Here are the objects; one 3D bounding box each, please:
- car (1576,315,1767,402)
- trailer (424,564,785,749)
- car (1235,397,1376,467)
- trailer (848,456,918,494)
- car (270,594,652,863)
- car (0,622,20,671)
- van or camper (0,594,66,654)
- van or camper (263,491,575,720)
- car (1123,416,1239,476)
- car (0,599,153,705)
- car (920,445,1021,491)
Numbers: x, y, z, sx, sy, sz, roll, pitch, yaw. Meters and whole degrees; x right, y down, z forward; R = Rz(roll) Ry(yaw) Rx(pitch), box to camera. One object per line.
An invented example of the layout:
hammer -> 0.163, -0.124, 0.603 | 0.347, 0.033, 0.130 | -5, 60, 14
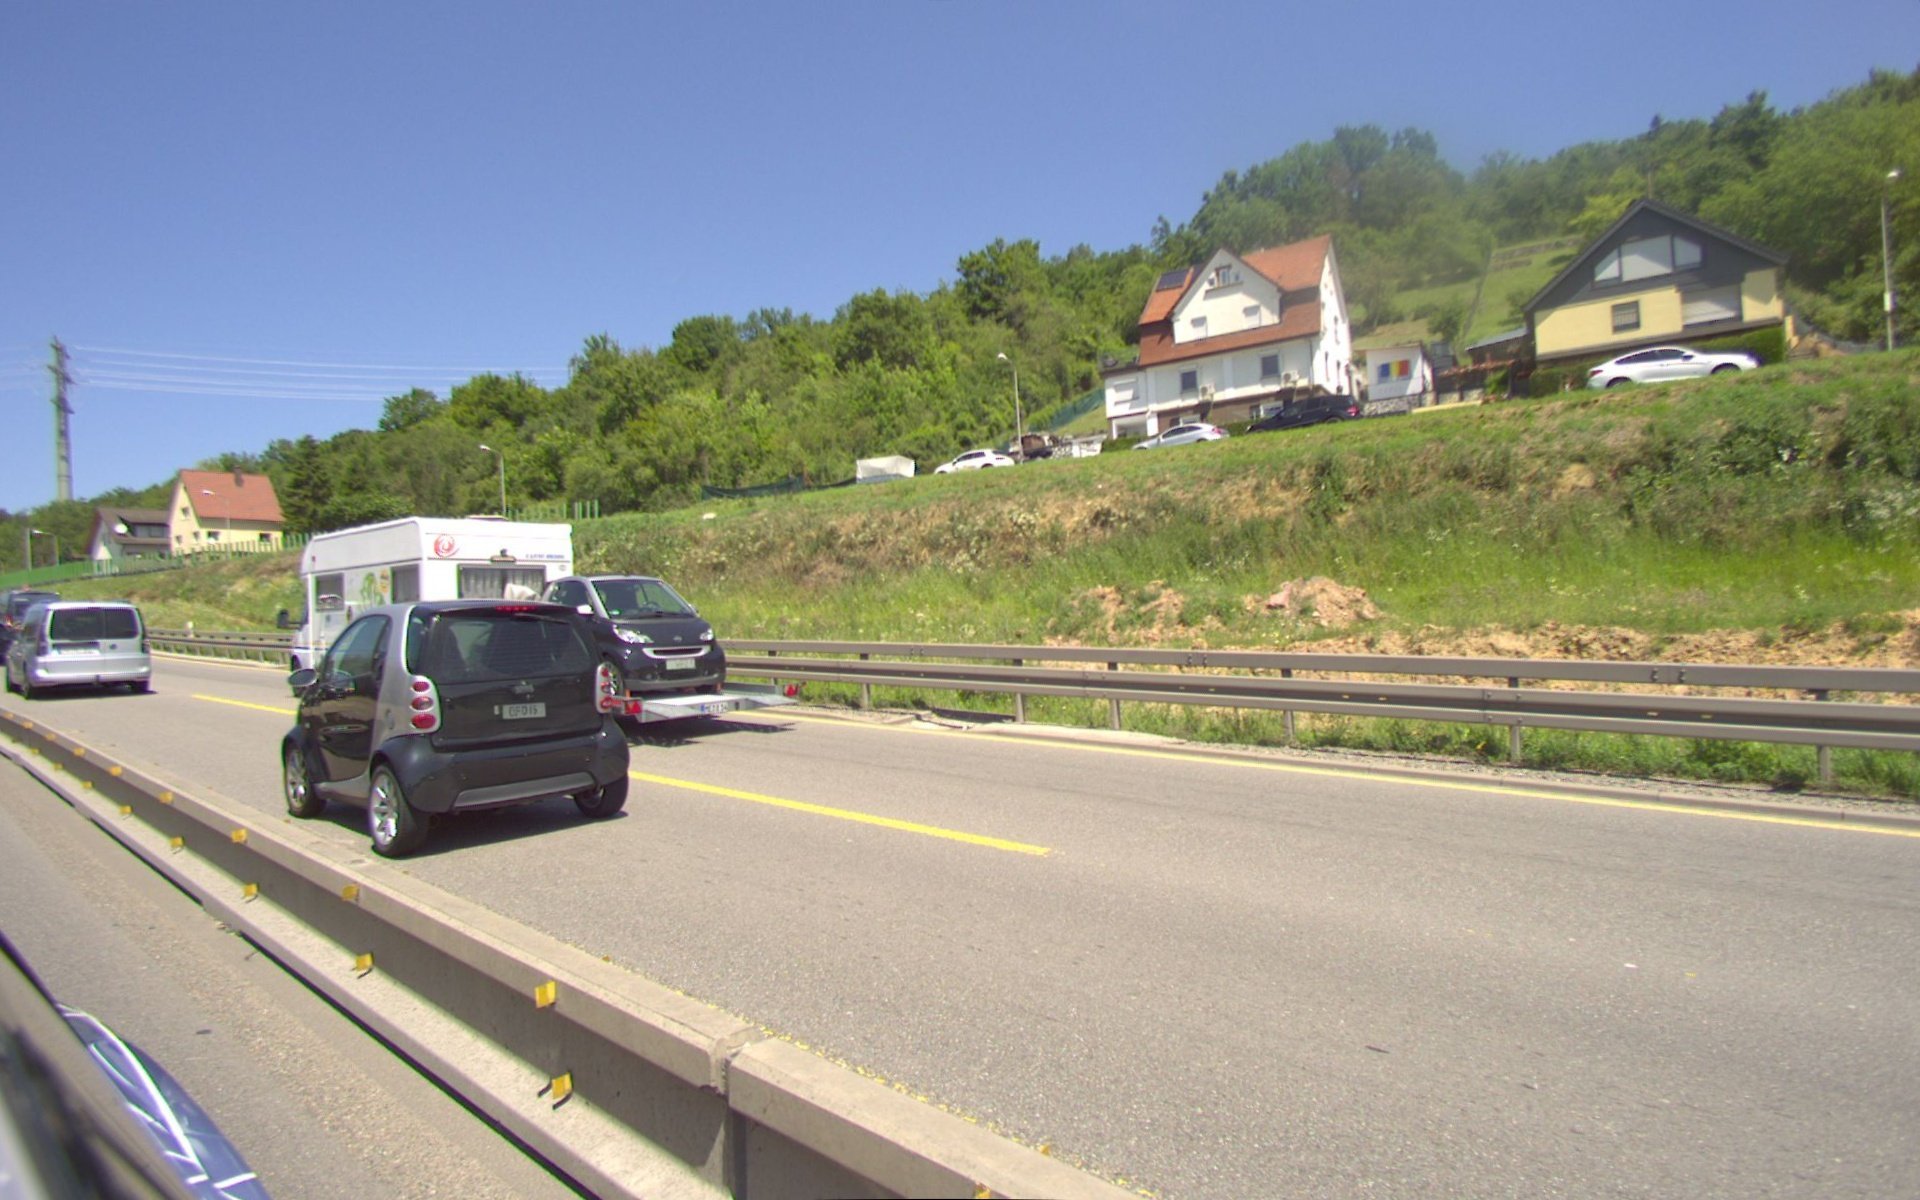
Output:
car -> 23.213, -7.838, 33.263 | 4.999, 1.807, 1.977 | 0, 0, 35
trailer -> -4.698, 0.620, 12.897 | 5.138, 1.908, 2.080 | -1, -1, 41
car -> 13.665, -6.600, 40.151 | 4.963, 2.023, 2.052 | 0, 0, 36
trailer -> -3.922, -6.314, 51.444 | 3.026, 1.527, 1.888 | 0, 0, 30
car -> -3.611, 0.747, 7.181 | 2.803, 1.516, 1.468 | -1, -1, 41
car -> -31.745, 1.475, 32.475 | 4.832, 1.486, 1.824 | -1, -1, 41
van or camper -> -43.784, 1.095, 47.348 | 6.561, 2.593, 2.118 | -1, 0, 41
van or camper -> -9.207, 0.127, 16.817 | 6.920, 3.089, 2.267 | -1, -1, 41
car -> 9.367, -6.478, 42.946 | 4.421, 1.886, 1.976 | 0, 0, 36
car -> -17.689, 0.946, 19.975 | 5.036, 1.842, 1.819 | -1, -1, 40
car -> 0.495, -6.307, 48.639 | 4.537, 1.668, 1.979 | 0, 0, 32
